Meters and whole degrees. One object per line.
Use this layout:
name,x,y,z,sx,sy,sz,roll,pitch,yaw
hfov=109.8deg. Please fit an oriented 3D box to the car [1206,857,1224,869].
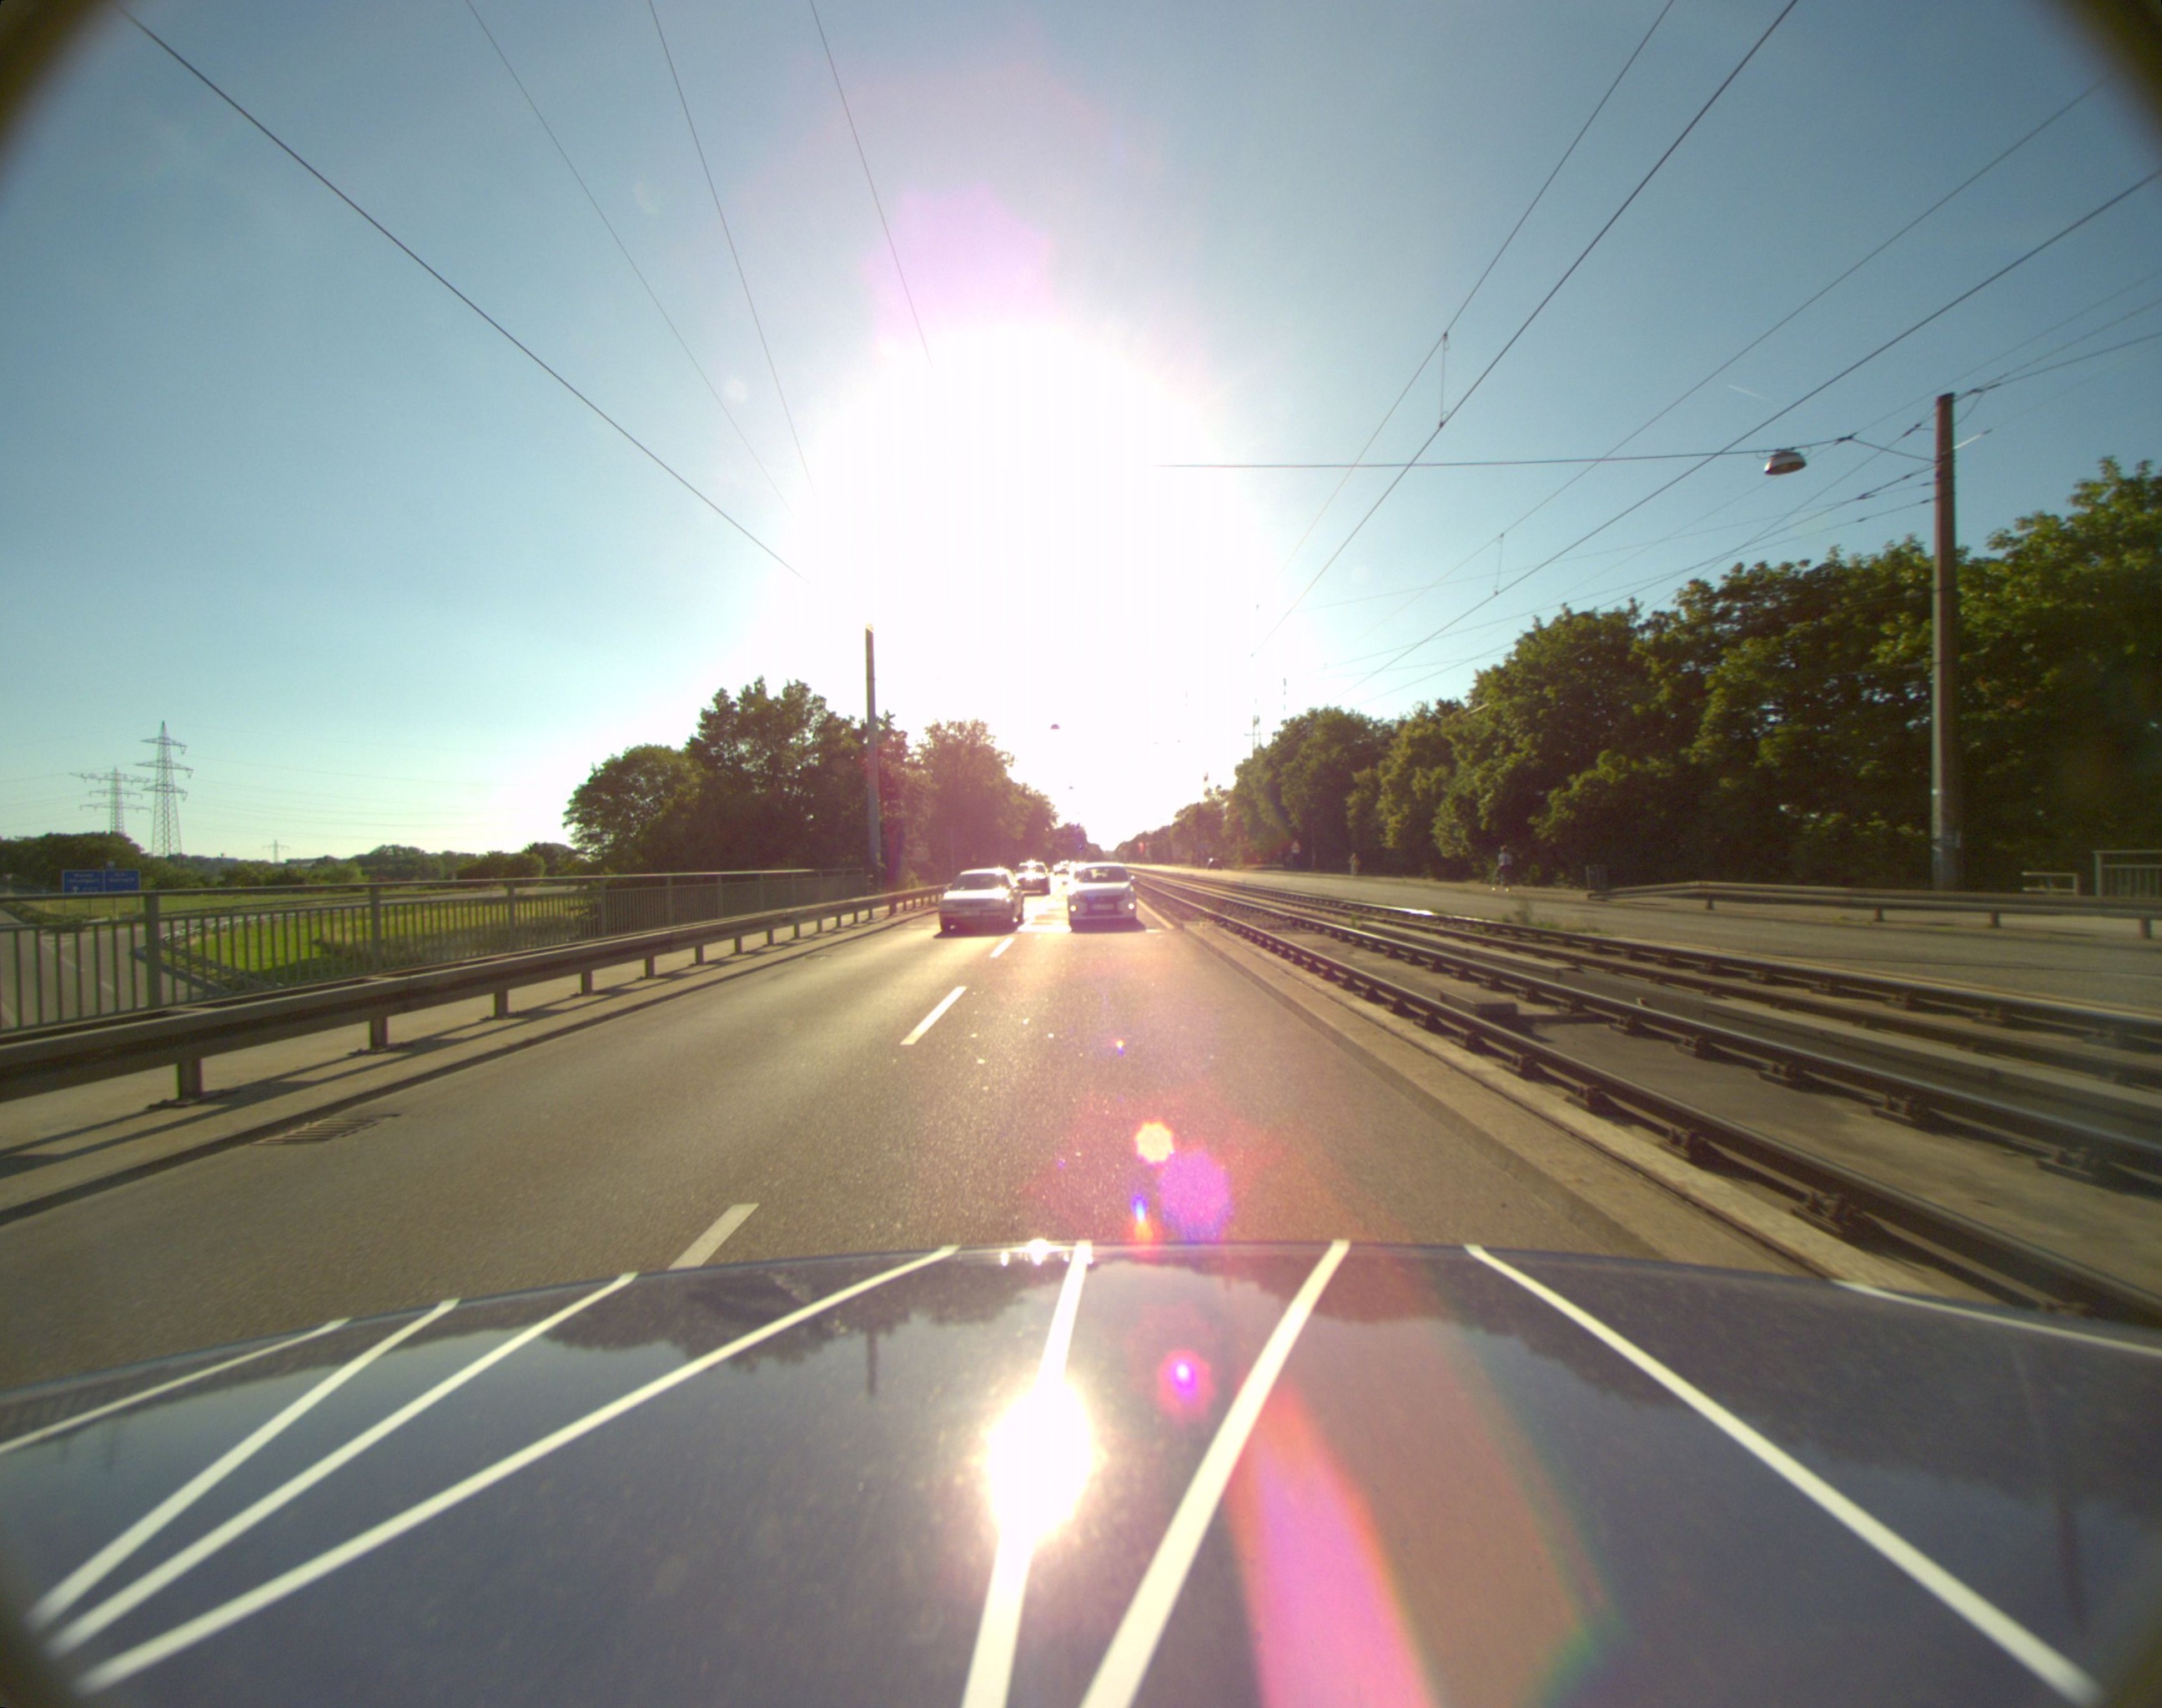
car,18.931,1.224,107.304,1.977,1.512,3.957,-2,0,2

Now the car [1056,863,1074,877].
car,-1.939,1.893,91.131,1.904,1.512,3.957,-2,0,2

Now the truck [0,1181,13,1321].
truck,-21.292,5.783,12.908,6.587,3.861,3.060,0,3,32

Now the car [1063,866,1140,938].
car,0.536,1.128,19.336,1.709,1.503,3.862,-2,1,2

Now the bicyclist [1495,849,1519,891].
bicyclist,17.939,0.651,32.013,0.498,1.741,0.833,-2,1,1

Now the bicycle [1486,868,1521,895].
bicycle,17.973,1.171,32.364,0.505,1.046,1.727,-2,1,1

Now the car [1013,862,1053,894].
car,-2.522,1.236,40.600,1.709,1.512,3.844,-2,1,2

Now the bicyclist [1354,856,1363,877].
bicyclist,19.882,0.901,54.449,0.422,1.420,0.755,-2,1,7

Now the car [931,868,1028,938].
car,-2.436,1.136,19.209,1.693,1.409,4.135,-2,0,2

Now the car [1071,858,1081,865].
car,-1.012,1.591,163.074,1.904,1.512,3.956,-2,0,1

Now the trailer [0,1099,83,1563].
trailer,-16.259,5.814,9.797,9.346,3.834,3.060,0,3,32

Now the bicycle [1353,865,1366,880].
bicycle,19.895,1.309,54.390,0.425,0.958,1.914,-2,1,7
